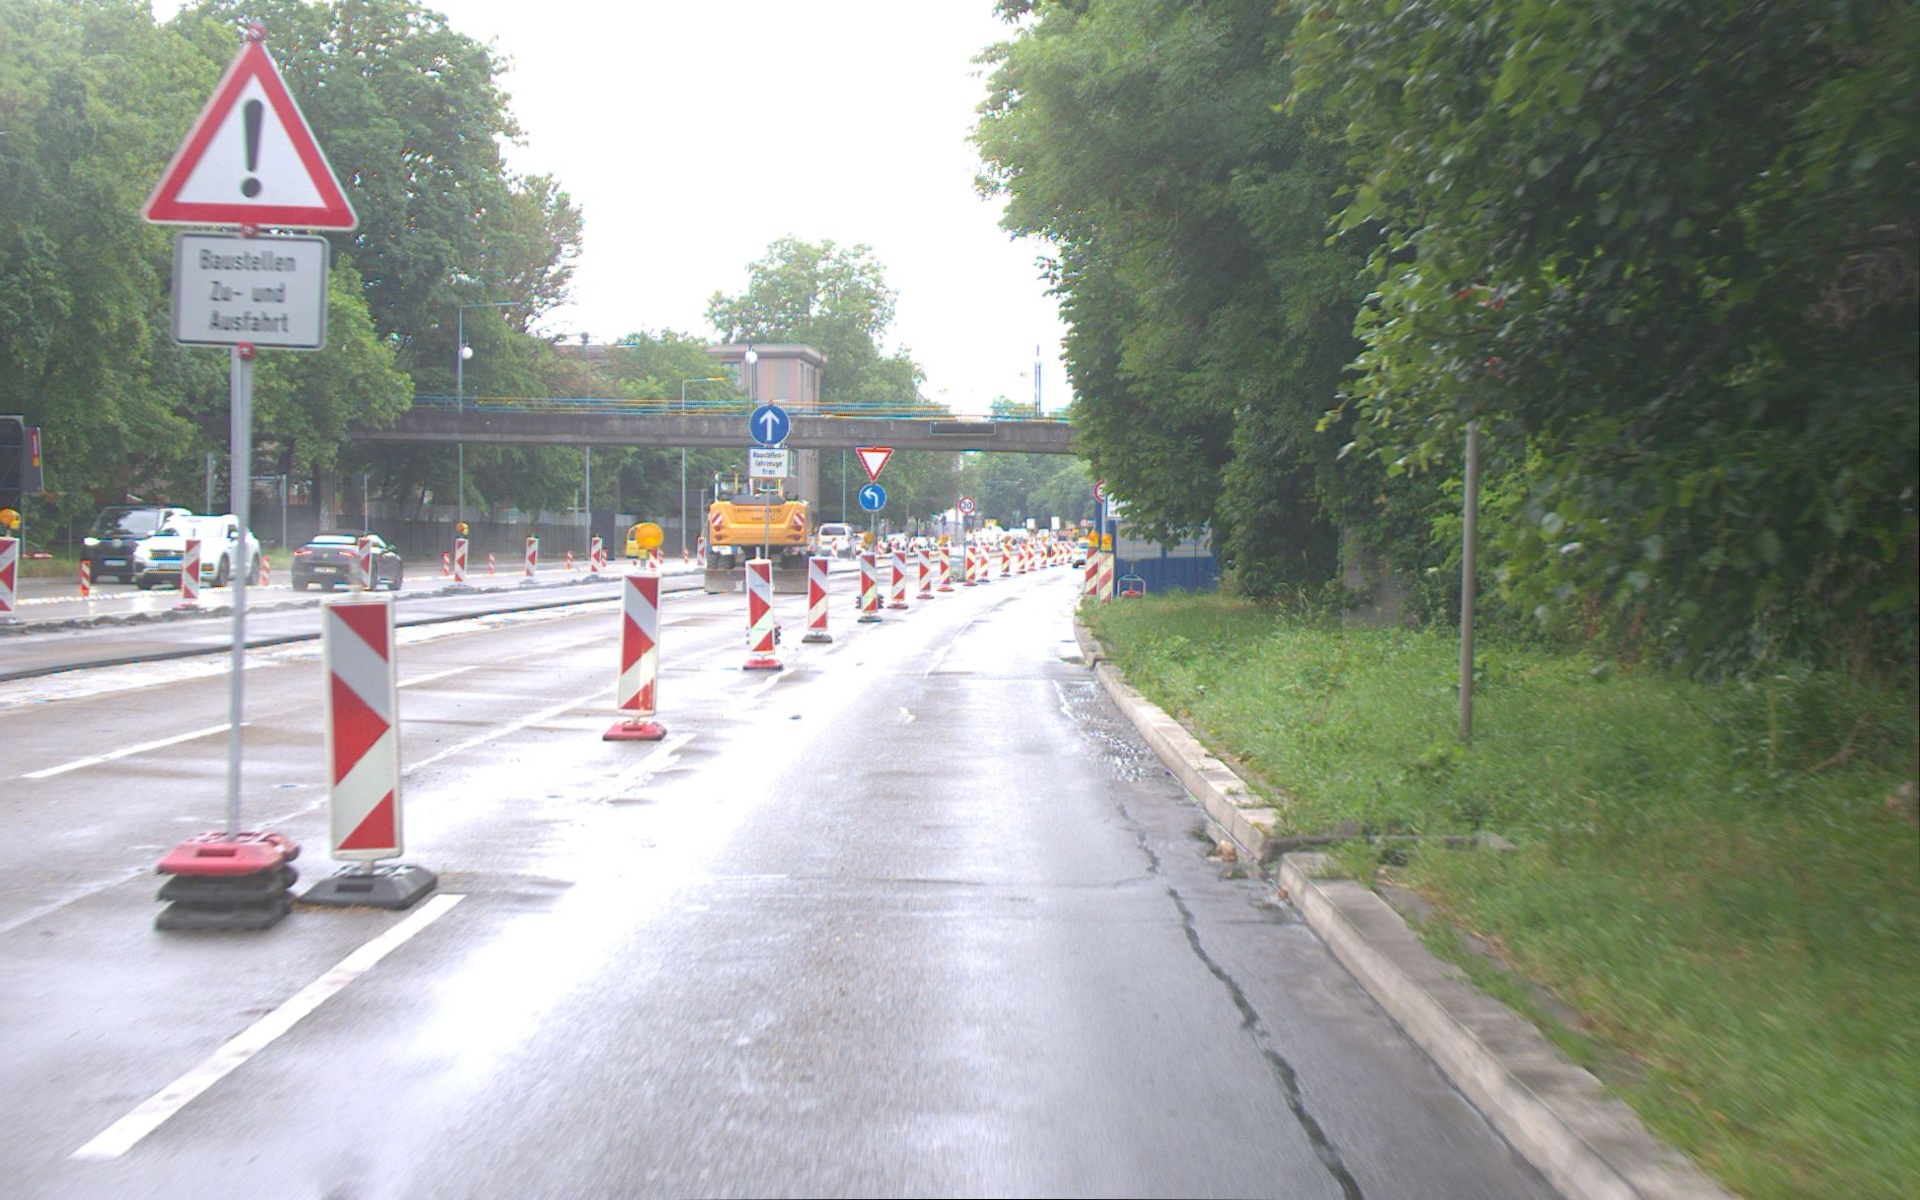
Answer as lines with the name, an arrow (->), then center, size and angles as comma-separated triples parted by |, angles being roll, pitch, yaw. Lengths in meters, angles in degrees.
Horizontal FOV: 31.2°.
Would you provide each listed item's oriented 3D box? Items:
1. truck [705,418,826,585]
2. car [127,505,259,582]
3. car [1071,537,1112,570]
truck -> -5.233, -2.666, 94.232 | 2.897, 4.244, 10.757 | 1, 1, -2
car -> -17.462, -1.297, 78.467 | 1.890, 1.655, 4.893 | 1, 1, 0
car -> 6.758, -2.391, 176.492 | 1.994, 1.634, 4.000 | 0, 1, 3
